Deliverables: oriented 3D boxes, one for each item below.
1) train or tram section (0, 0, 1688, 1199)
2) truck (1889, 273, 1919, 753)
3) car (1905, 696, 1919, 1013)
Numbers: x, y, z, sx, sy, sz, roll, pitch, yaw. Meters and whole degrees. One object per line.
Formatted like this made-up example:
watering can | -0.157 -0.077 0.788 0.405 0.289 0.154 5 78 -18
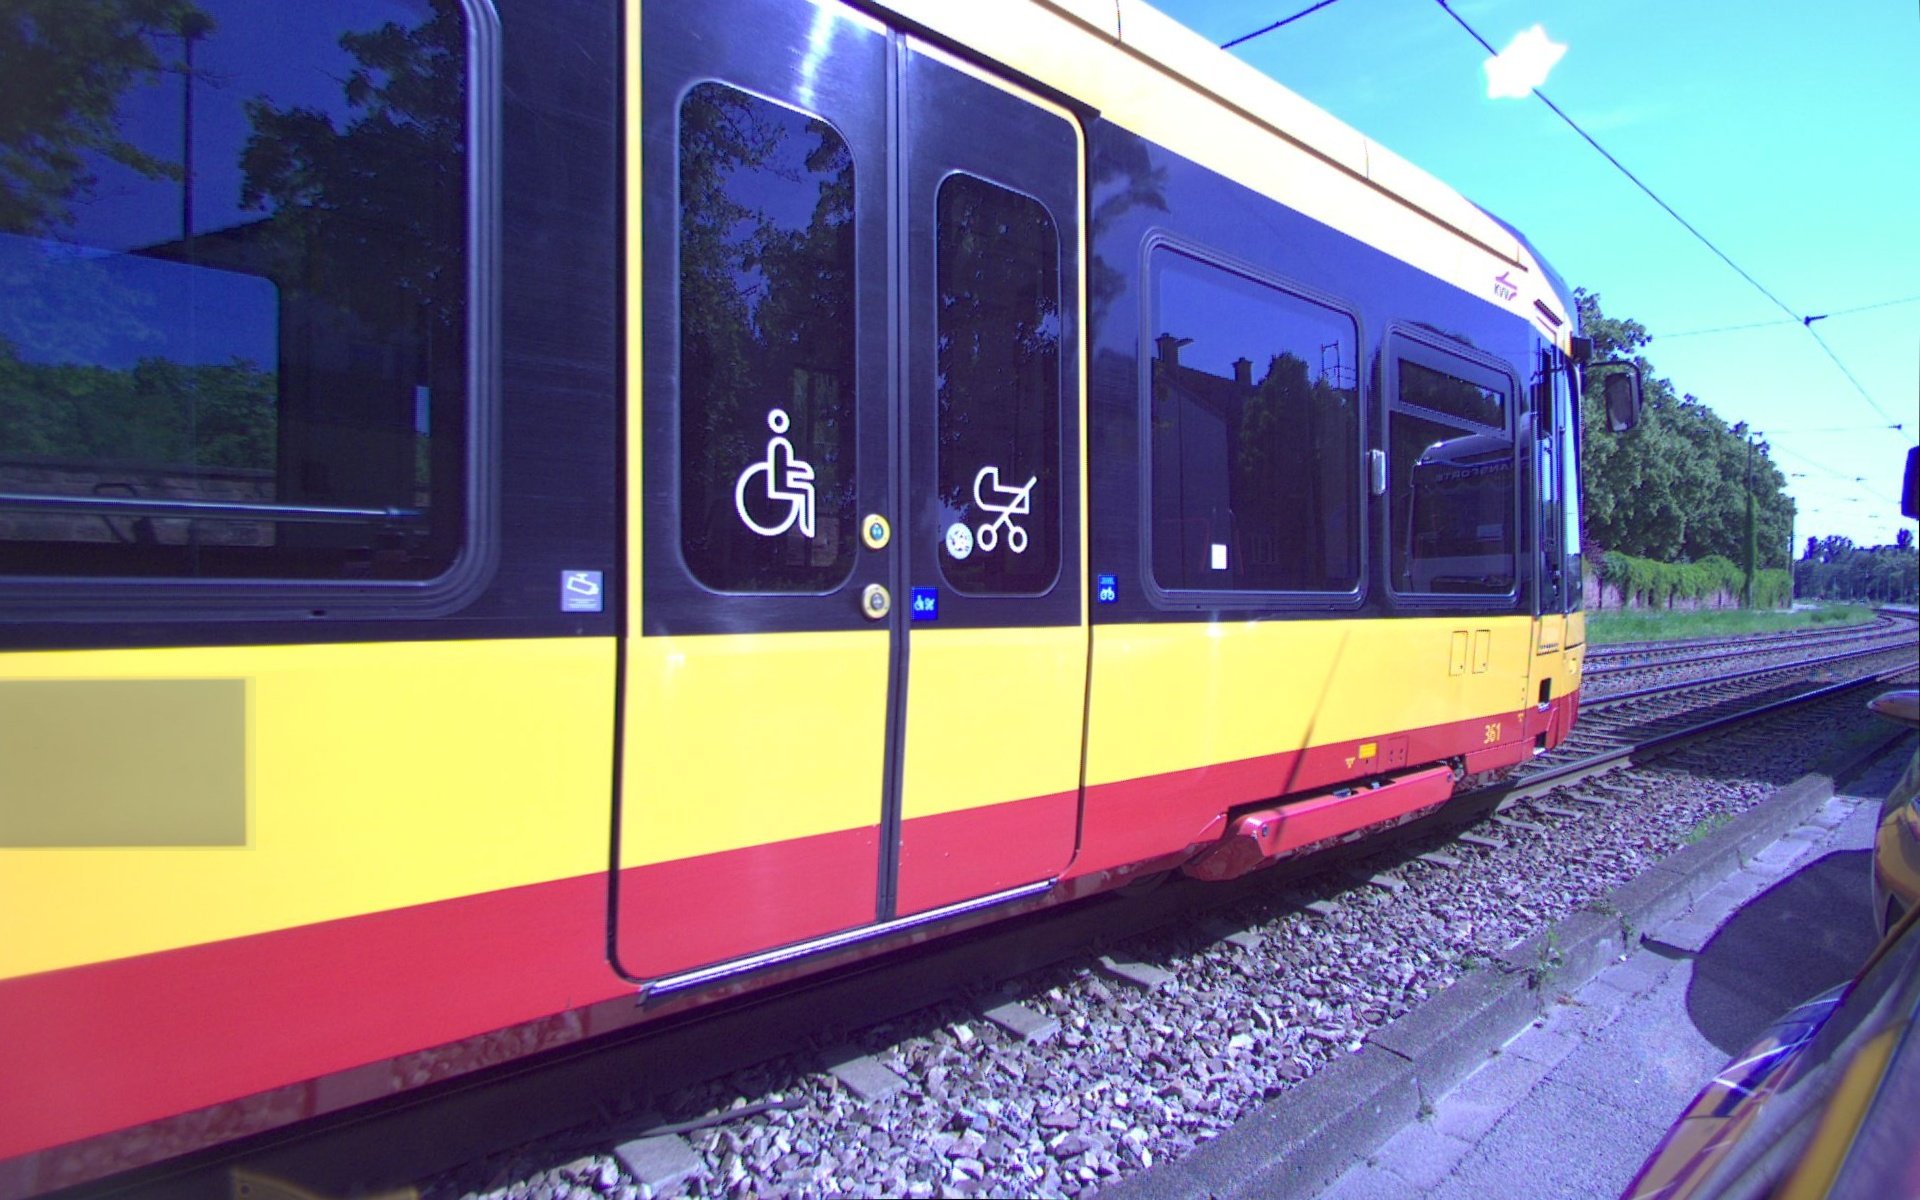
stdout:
train or tram section | -0.645 -0.653 3.976 12.174 3.903 2.876 0 2 -41
truck | 14.246 -0.664 12.058 14.651 3.927 2.934 0 2 -41
car | 5.128 0.660 4.013 3.930 1.448 1.573 0 2 -41
